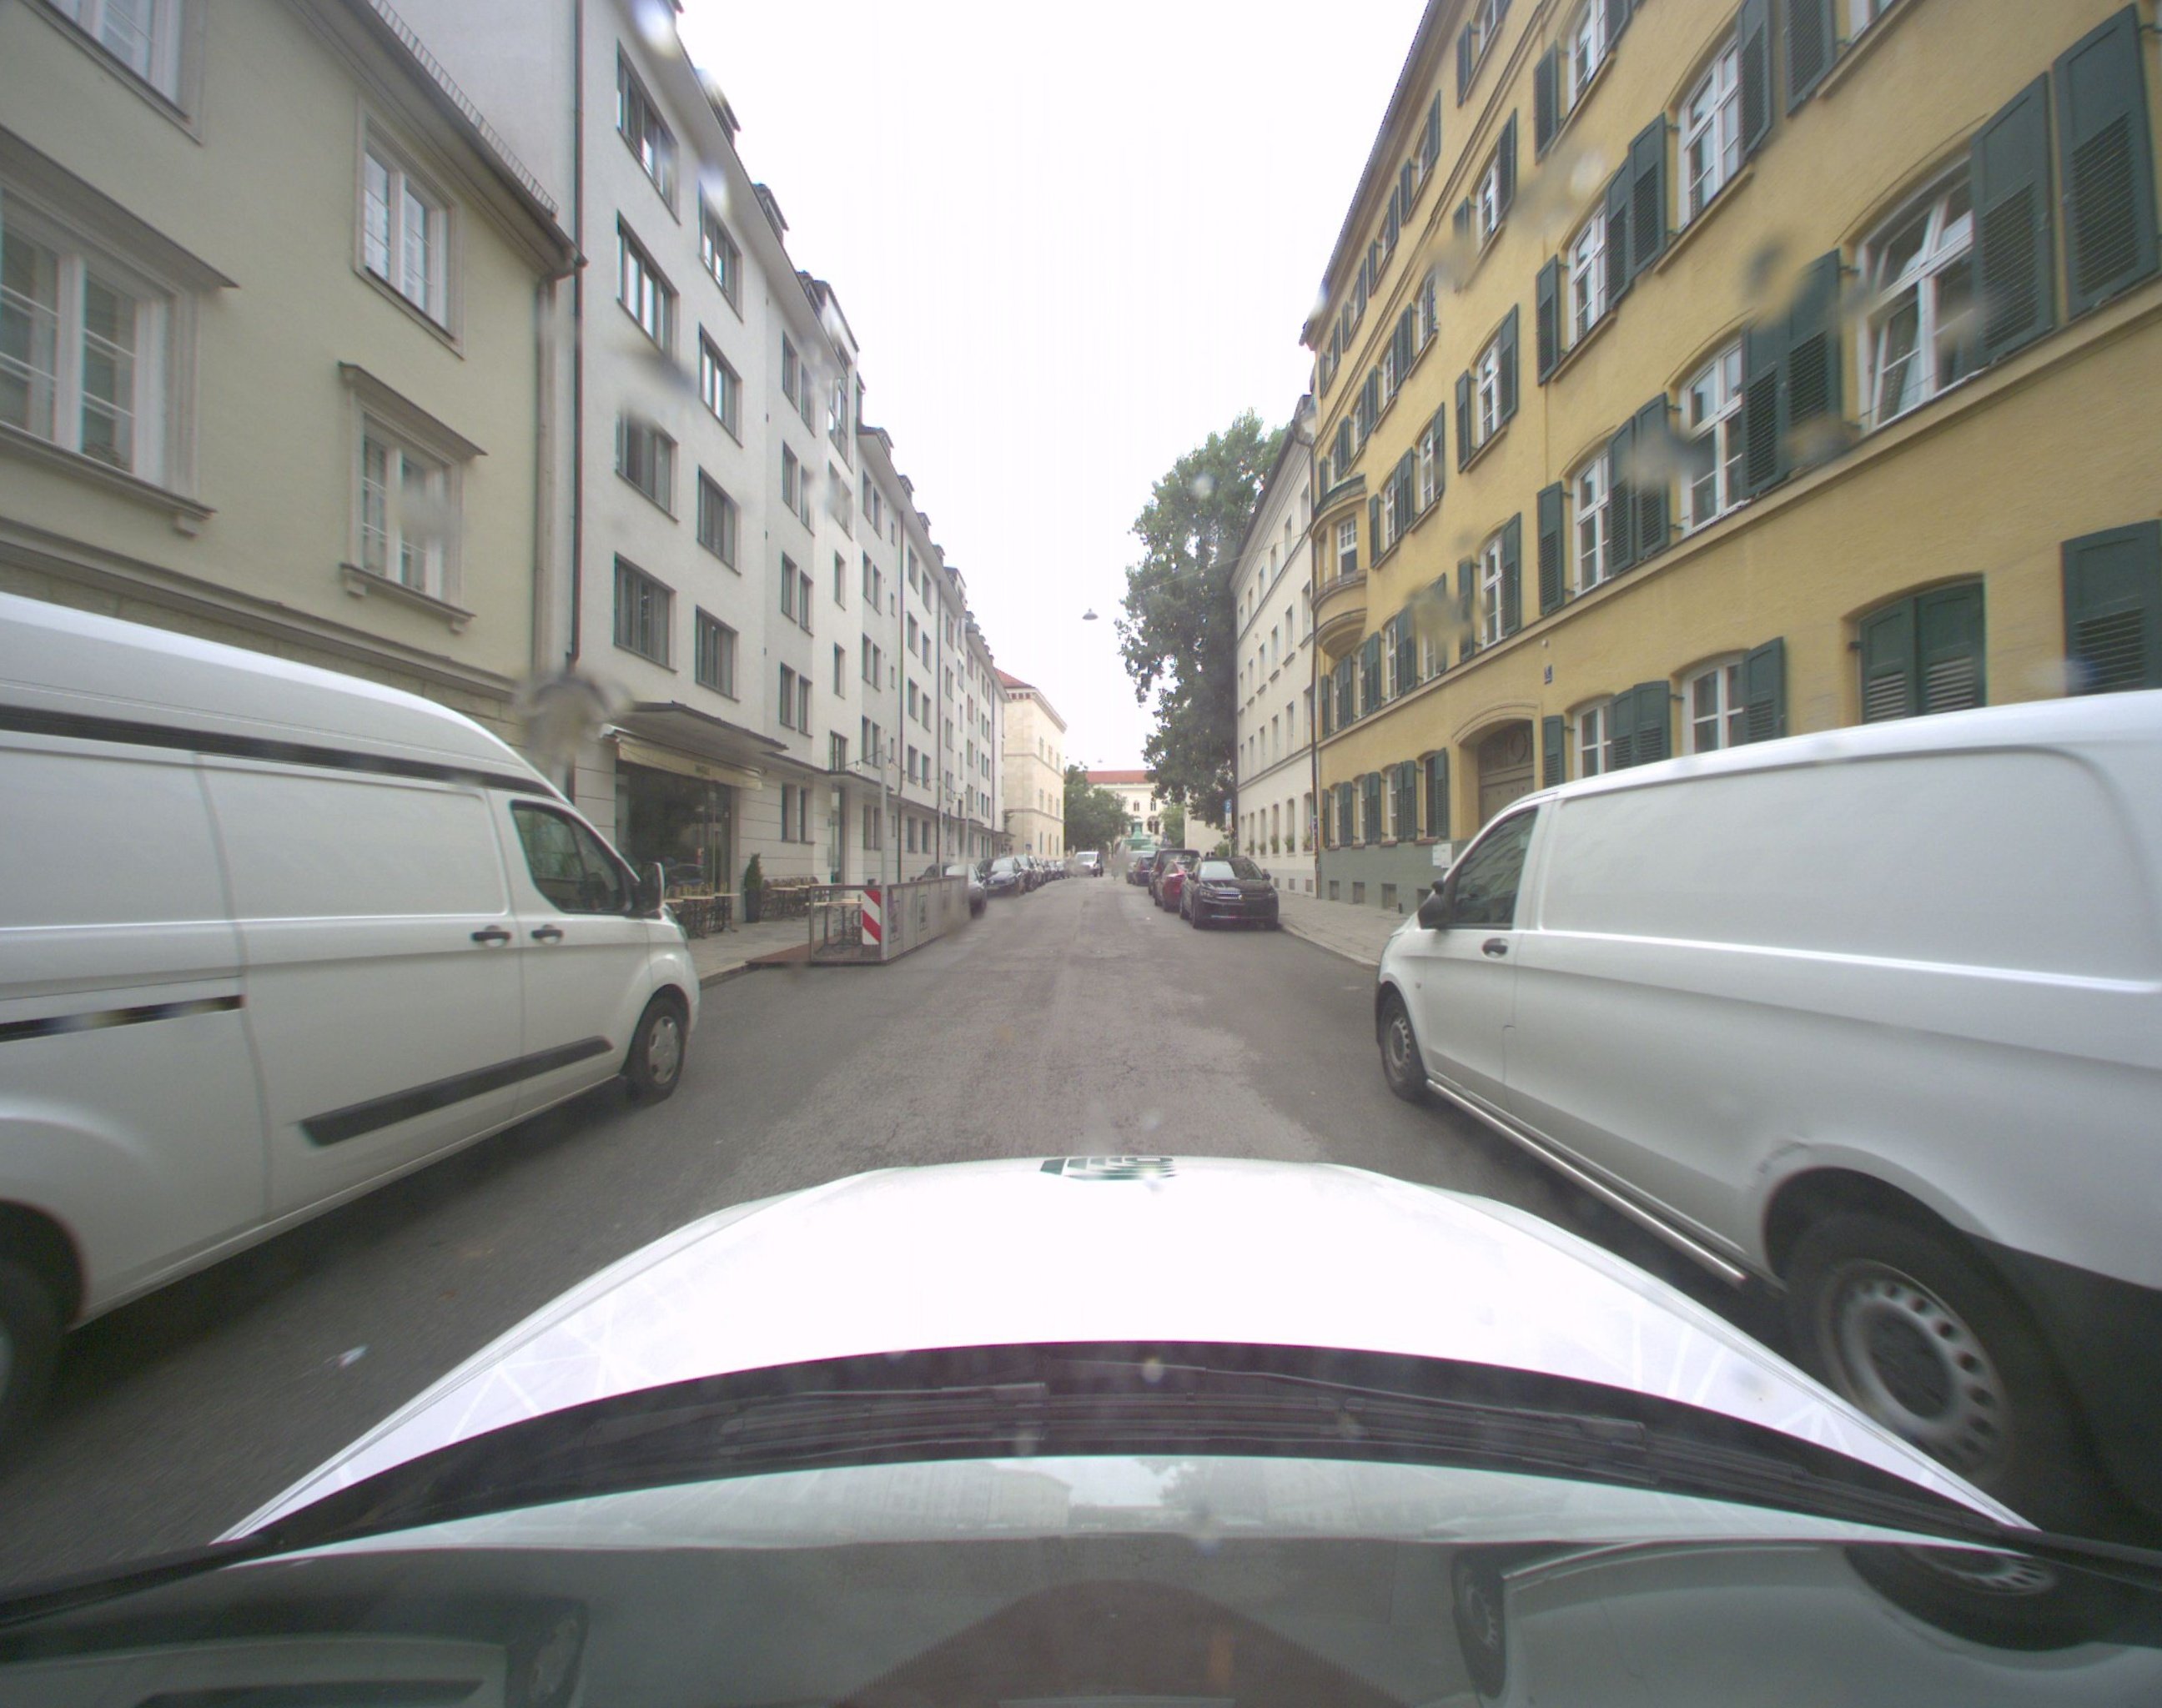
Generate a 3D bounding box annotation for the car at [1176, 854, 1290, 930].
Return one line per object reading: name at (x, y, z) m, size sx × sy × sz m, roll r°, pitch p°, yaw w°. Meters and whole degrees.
car at (3.217, 0.755, 18.057) m, size 1.805 × 1.465 × 4.247 m, roll 1°, pitch -1°, yaw 1°

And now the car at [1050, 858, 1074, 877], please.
car at (-1.612, 1.189, 71.252) m, size 1.699 × 1.581 × 3.867 m, roll -1°, pitch 0°, yaw 4°

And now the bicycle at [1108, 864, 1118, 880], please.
bicycle at (2.224, 1.230, 56.878) m, size 0.673 × 1.095 × 1.761 m, roll -1°, pitch -1°, yaw 2°

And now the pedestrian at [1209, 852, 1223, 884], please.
pedestrian at (8.316, 0.867, 50.297) m, size 0.667 × 1.980 × 0.709 m, roll -4°, pitch -2°, yaw 2°

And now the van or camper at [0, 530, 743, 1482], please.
van or camper at (-3.448, 0.374, 3.492) m, size 1.749 × 2.281 × 5.273 m, roll 0°, pitch 0°, yaw 0°

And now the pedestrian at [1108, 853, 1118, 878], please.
pedestrian at (2.234, 0.785, 56.857) m, size 0.639 × 1.714 × 0.843 m, roll -1°, pitch -2°, yaw 2°

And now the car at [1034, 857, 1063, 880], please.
car at (-2.371, 1.065, 60.188) m, size 1.699 × 1.609 × 3.866 m, roll -1°, pitch 0°, yaw 3°

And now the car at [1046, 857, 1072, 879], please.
car at (-1.759, 1.094, 65.171) m, size 1.699 × 1.609 × 3.866 m, roll -1°, pitch 0°, yaw 4°

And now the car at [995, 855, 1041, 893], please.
car at (-2.843, 0.868, 37.323) m, size 1.701 × 1.609 × 3.863 m, roll -1°, pitch 0°, yaw 0°

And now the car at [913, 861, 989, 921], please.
car at (-3.388, 0.908, 21.853) m, size 1.759 × 1.410 × 4.146 m, roll -1°, pitch 0°, yaw -6°

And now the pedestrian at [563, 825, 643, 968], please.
pedestrian at (-6.234, 0.546, 10.654) m, size 0.590 × 1.795 × 0.740 m, roll -1°, pitch -2°, yaw 0°

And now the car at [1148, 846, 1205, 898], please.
car at (3.520, 0.667, 30.691) m, size 1.805 × 1.797 × 4.248 m, roll 1°, pitch -1°, yaw 2°

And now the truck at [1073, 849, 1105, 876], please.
truck at (0.781, 0.768, 72.165) m, size 2.109 × 2.247 × 6.198 m, roll -1°, pitch -1°, yaw 7°

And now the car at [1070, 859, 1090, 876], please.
car at (-0.072, 1.261, 79.811) m, size 1.699 × 1.581 × 3.867 m, roll -1°, pitch 0°, yaw 4°

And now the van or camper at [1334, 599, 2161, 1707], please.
van or camper at (2.780, 0.521, 3.695) m, size 1.827 × 1.872 × 5.080 m, roll 0°, pitch 0°, yaw 2°

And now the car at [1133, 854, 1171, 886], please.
car at (3.841, 0.852, 44.582) m, size 1.805 × 1.614 × 4.157 m, roll -1°, pitch -1°, yaw 2°

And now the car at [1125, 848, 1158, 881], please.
car at (3.717, 0.622, 50.360) m, size 1.845 × 1.919 × 4.771 m, roll -1°, pitch -1°, yaw 2°

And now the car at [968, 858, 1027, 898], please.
car at (-3.177, 0.890, 31.586) m, size 1.811 × 1.444 × 3.818 m, roll -1°, pitch 0°, yaw 0°

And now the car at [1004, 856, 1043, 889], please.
car at (-2.946, 0.918, 42.636) m, size 1.701 × 1.609 × 3.863 m, roll -1°, pitch 0°, yaw 0°

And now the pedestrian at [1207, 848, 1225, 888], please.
pedestrian at (6.777, 0.715, 40.908) m, size 0.667 × 1.980 × 0.709 m, roll -4°, pitch -2°, yaw 2°

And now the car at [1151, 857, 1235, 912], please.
car at (3.136, 0.818, 23.565) m, size 1.806 × 1.425 × 4.245 m, roll 1°, pitch -1°, yaw 0°

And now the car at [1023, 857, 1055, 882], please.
car at (-2.772, 1.001, 54.635) m, size 1.699 × 1.609 × 3.866 m, roll -1°, pitch 0°, yaw 3°
